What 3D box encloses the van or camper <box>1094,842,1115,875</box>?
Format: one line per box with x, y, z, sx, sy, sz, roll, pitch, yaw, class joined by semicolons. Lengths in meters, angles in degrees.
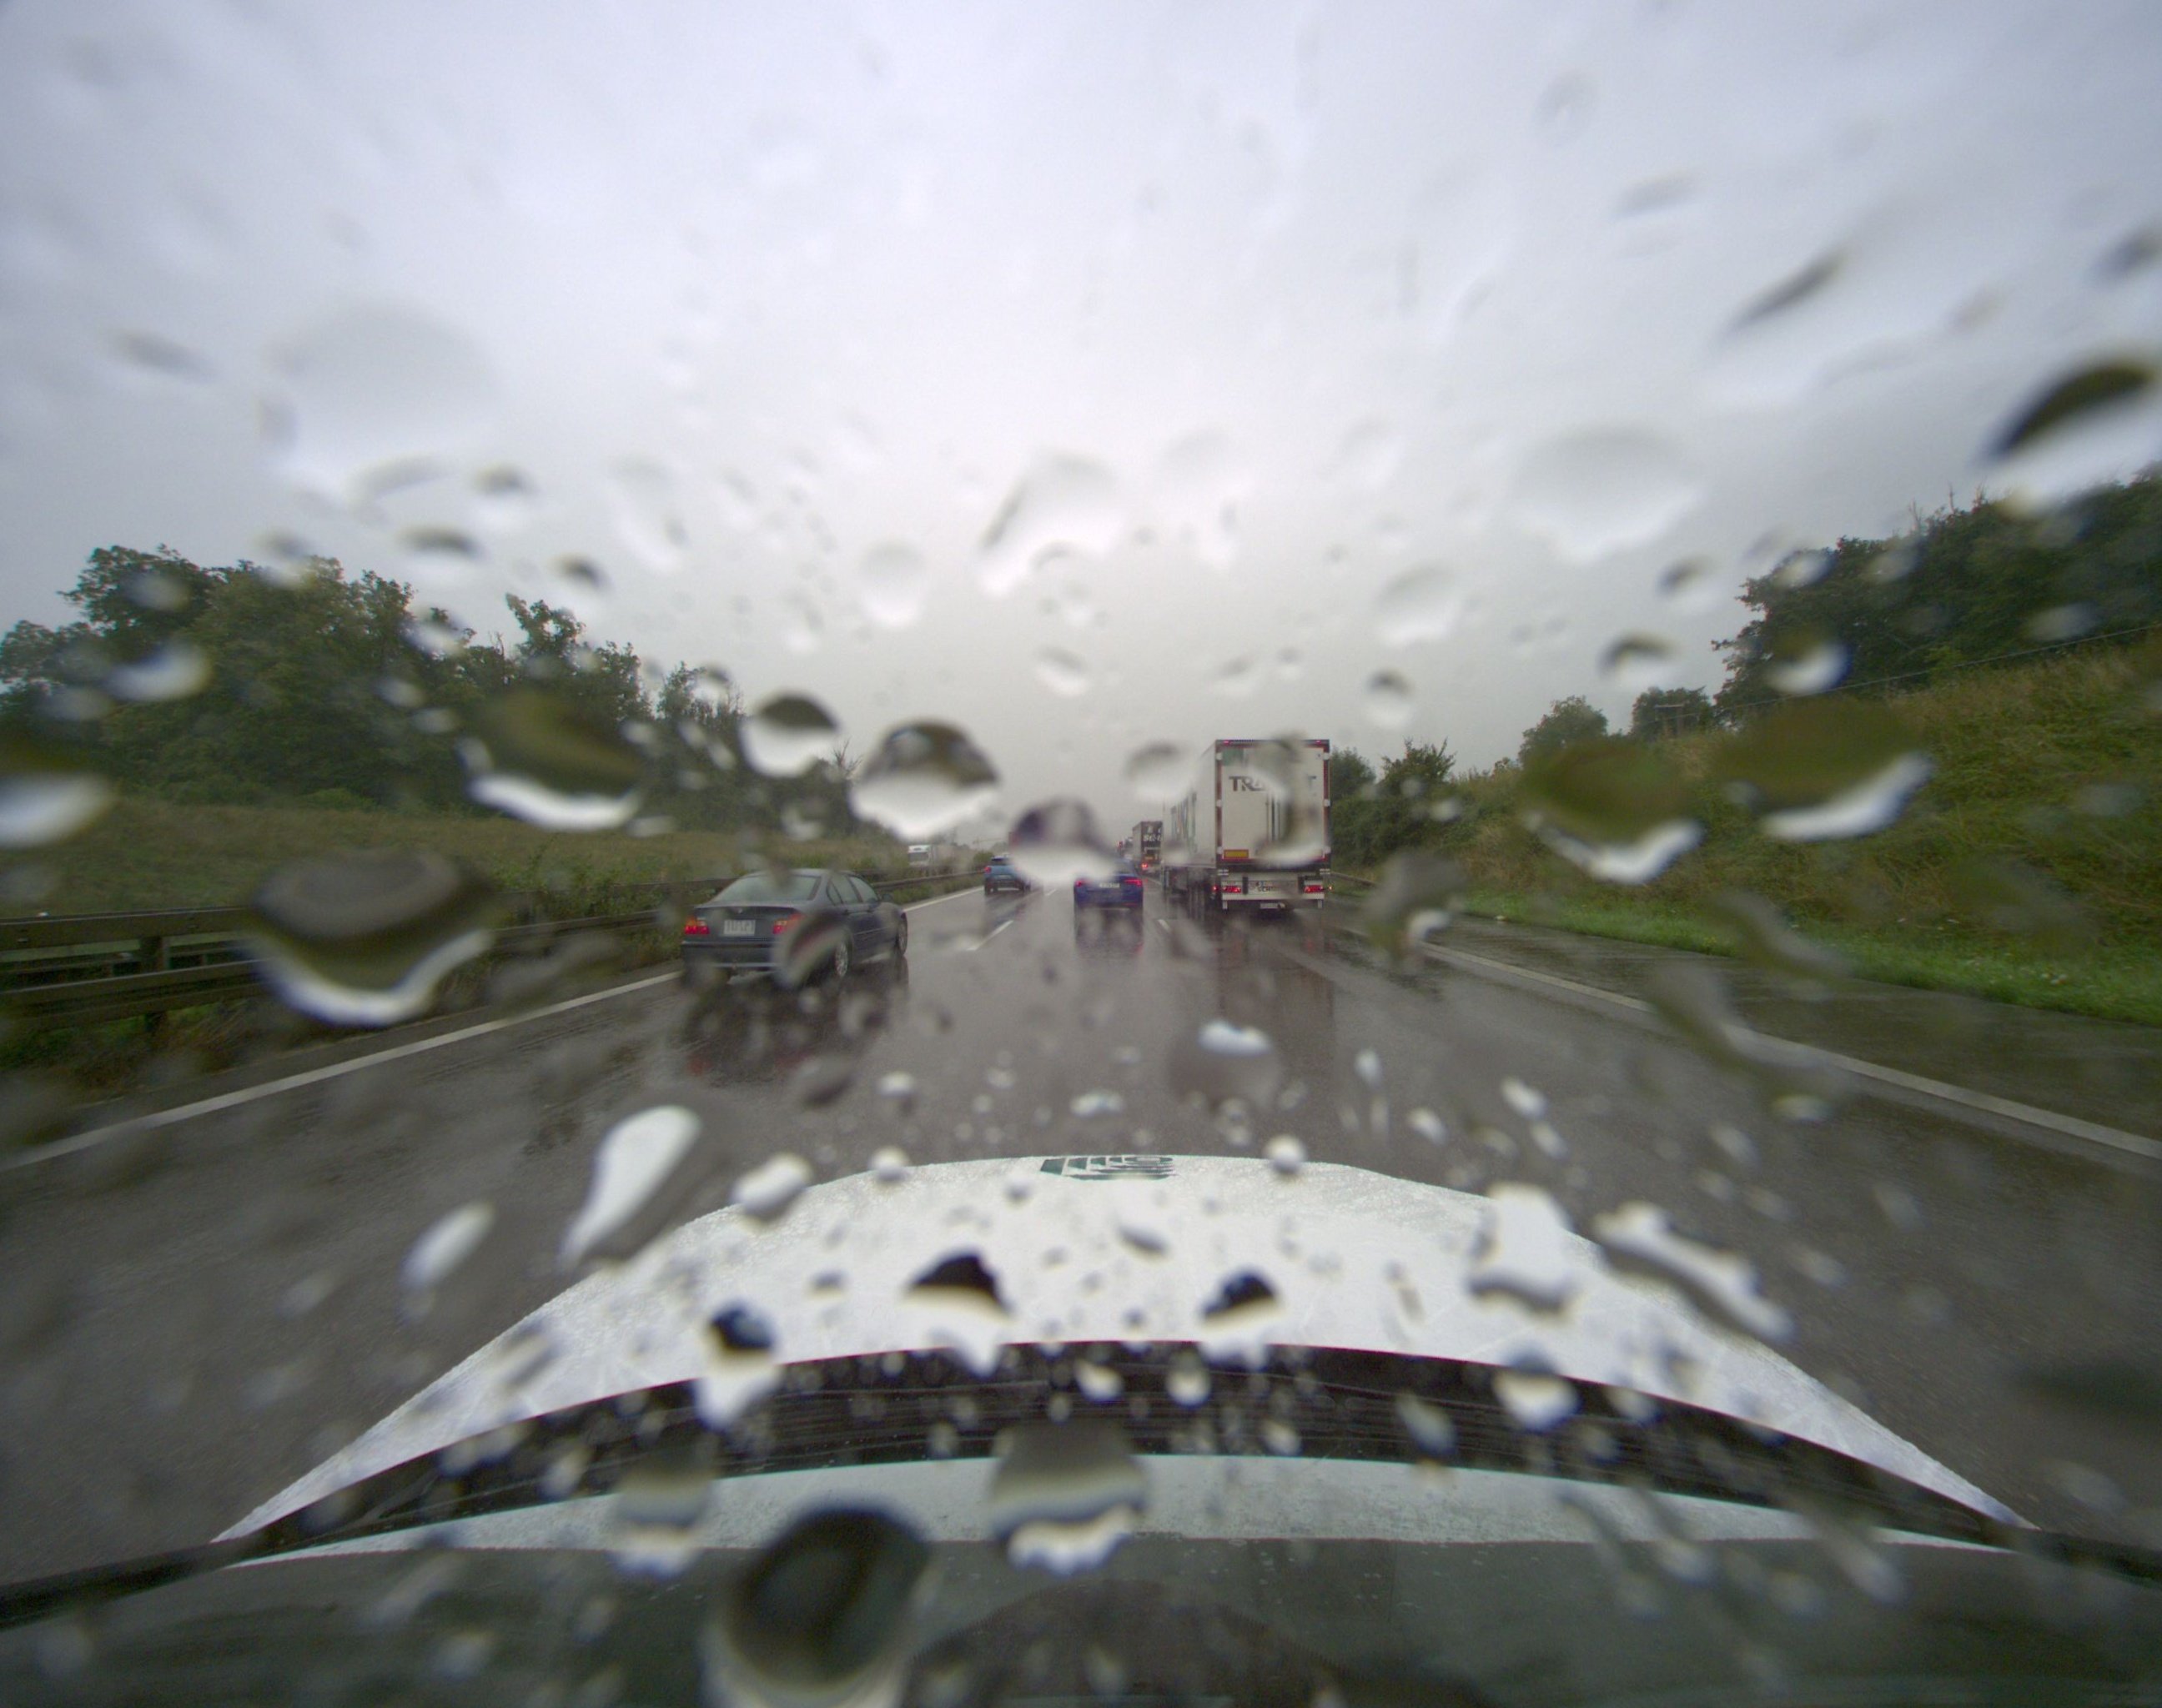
2.115;0.371;72.708;1.791;2.806;4.769;-1;0;1;van or camper

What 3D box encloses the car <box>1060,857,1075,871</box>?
-1.504;1.078;92.022;1.434;1.533;3.323;-1;0;1;car

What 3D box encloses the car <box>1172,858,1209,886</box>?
5.354;0.867;40.101;1.418;1.288;3.461;-1;0;1;car

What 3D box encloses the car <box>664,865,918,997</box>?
-3.635;0.878;11.113;1.711;1.400;4.233;-1;0;3;car

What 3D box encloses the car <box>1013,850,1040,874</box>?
-3.445;0.492;52.082;1.354;1.431;3.364;-1;0;1;car

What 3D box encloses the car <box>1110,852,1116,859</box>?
9.359;0.466;238.366;1.443;1.784;3.410;0;-1;1;car

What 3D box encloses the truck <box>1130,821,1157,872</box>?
5.322;-0.607;69.642;2.039;4.193;4.001;-1;0;1;truck

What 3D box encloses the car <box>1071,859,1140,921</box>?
0.675;0.871;21.544;1.629;1.445;4.002;-1;0;2;car

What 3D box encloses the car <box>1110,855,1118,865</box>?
6.090;1.161;150.266;1.443;1.784;3.410;0;-1;1;car

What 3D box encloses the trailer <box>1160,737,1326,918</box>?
4.349;-0.604;25.636;2.621;4.013;14.633;-1;0;1;trailer

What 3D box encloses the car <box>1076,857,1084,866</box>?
-0.114;1.466;159.249;1.443;1.784;3.410;0;-1;1;car

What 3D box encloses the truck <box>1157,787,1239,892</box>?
4.515;-0.535;32.309;2.621;3.827;4.792;-1;0;1;truck

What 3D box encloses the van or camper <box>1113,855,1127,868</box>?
5.321;1.032;112.237;1.765;1.625;4.485;-1;0;1;van or camper

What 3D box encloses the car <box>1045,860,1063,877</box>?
-2.440;1.307;74.775;1.434;1.420;3.323;-1;0;1;car

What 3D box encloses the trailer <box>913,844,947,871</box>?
-17.819;0.417;96.698;1.986;3.082;9.557;-1;0;1;trailer

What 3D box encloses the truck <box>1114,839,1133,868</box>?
5.309;-0.061;102.526;1.987;3.421;8.031;-1;0;0;truck

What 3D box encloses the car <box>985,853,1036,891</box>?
-3.036;0.757;35.904;1.715;1.523;4.002;-1;0;2;car

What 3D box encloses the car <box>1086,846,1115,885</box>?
0.962;0.540;40.168;1.332;1.780;3.323;-1;0;1;car

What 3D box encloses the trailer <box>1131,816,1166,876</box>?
5.171;-0.578;63.661;2.039;4.176;11.451;-1;0;1;trailer
